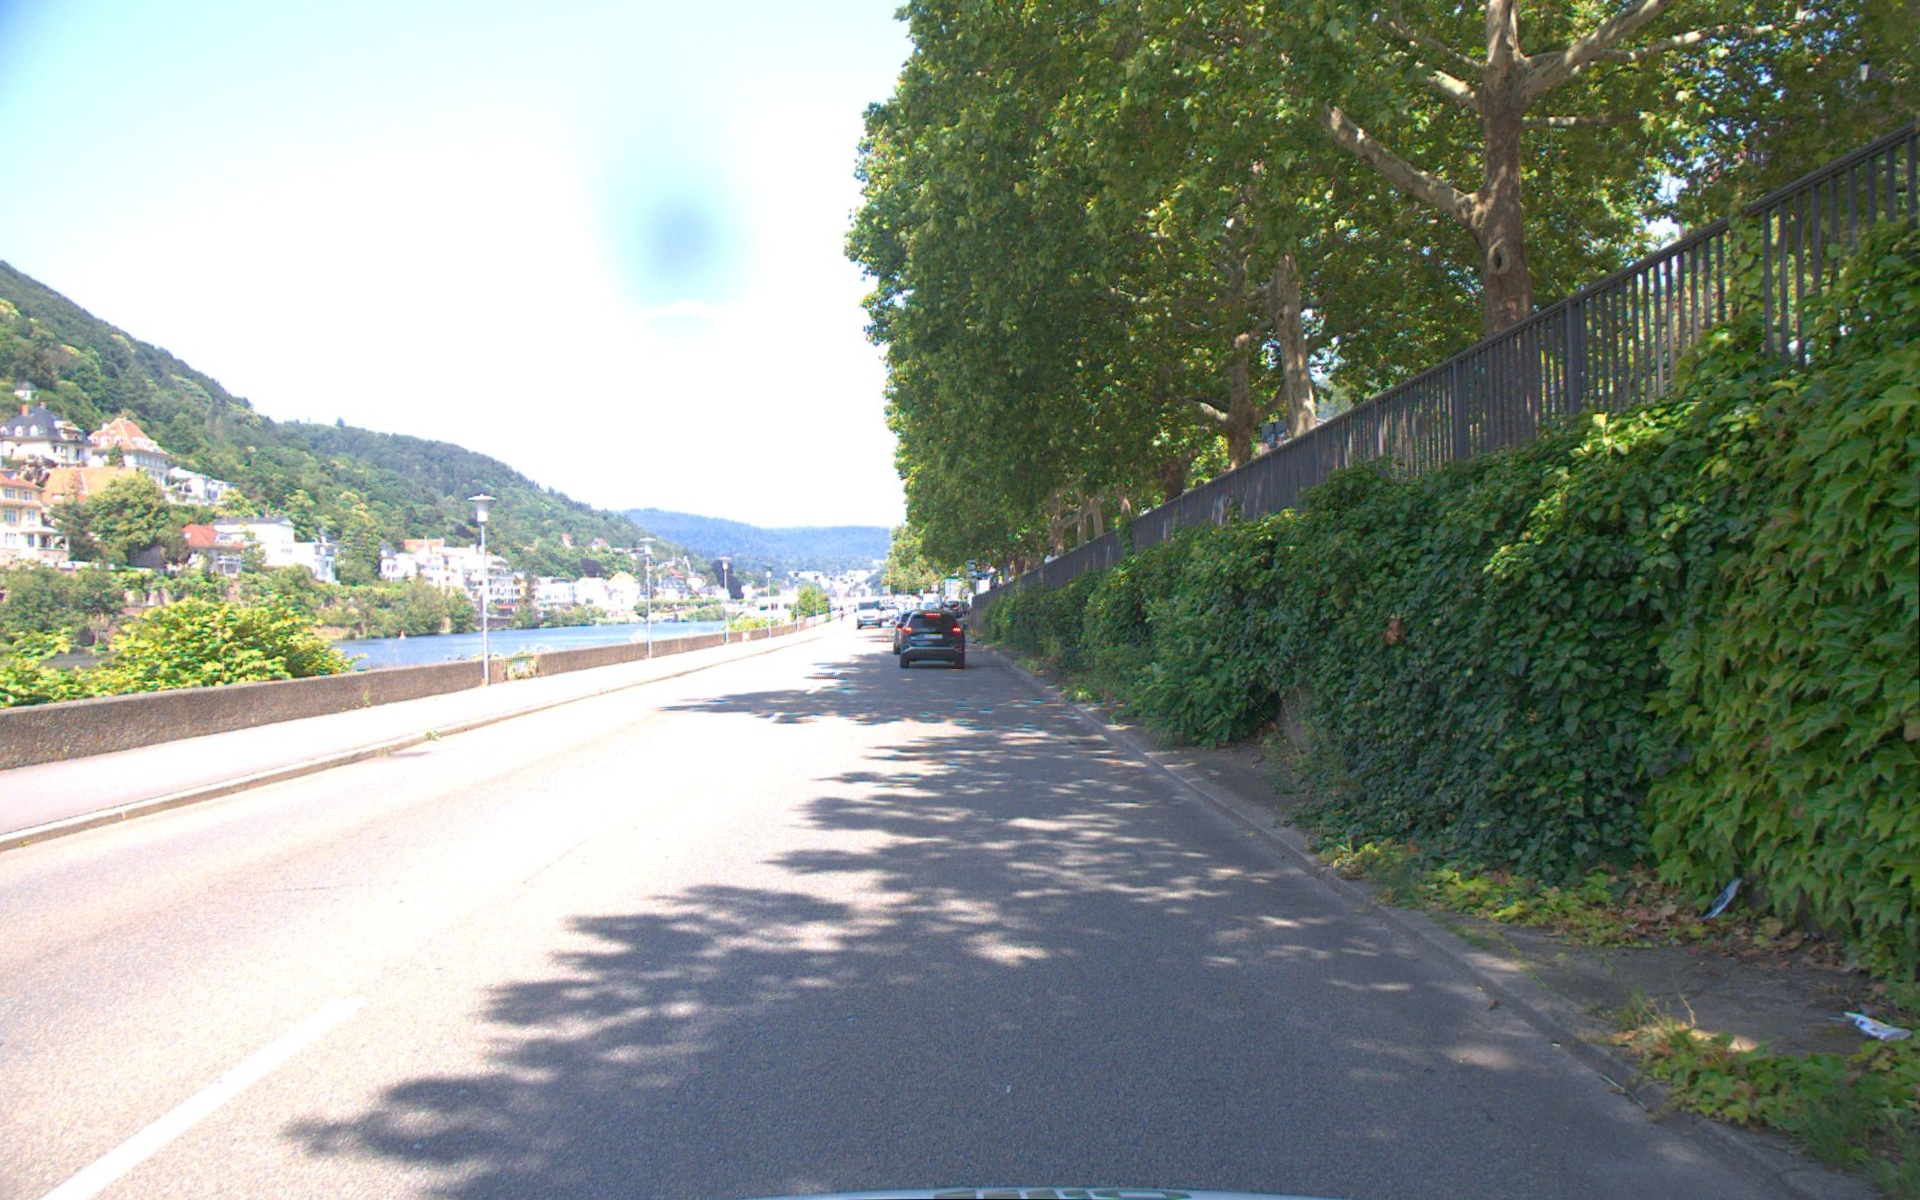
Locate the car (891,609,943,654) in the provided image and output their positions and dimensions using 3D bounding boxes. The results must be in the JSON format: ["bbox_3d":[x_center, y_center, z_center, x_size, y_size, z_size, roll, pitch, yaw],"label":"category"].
[{"bbox_3d":[-1.571,1.098,59.312,1.791,1.537,3.998,0,0,-2],"label":"car"}]

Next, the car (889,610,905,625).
[{"bbox_3d":[-6.847,1.873,179.167,1.697,1.467,4.043,-2,0,-2],"label":"car"}]

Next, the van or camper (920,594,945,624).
[{"bbox_3d":[-2.720,0.923,163.901,2.263,2.897,4.245,-1,0,0],"label":"van or camper"}]

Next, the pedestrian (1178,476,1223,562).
[{"bbox_3d":[4.147,-1.395,28.546,0.573,1.444,0.588,-1,-1,-9],"label":"pedestrian"}]

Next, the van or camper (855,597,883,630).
[{"bbox_3d":[-7.285,1.088,132.611,2.035,2.440,5.383,-2,0,-2],"label":"van or camper"}]

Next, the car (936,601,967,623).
[{"bbox_3d":[-0.950,1.262,176.819,3.036,2.048,5.821,-4,0,-2],"label":"car"}]

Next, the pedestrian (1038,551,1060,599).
[{"bbox_3d":[3.042,-0.865,56.764,0.651,1.619,0.650,-2,-1,-2],"label":"pedestrian"}]

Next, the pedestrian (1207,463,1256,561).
[{"bbox_3d":[4.743,-1.526,28.898,0.635,1.669,0.625,-1,-1,-9],"label":"pedestrian"}]

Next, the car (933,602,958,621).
[{"bbox_3d":[-1.664,1.315,188.488,2.608,2.048,5.821,-4,0,-2],"label":"car"}]

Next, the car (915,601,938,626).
[{"bbox_3d":[-3.035,1.206,150.647,1.953,2.207,3.998,-1,0,-2],"label":"car"}]

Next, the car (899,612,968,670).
[{"bbox_3d":[-0.761,1.094,45.305,1.791,1.512,3.998,0,0,-2],"label":"car"}]
